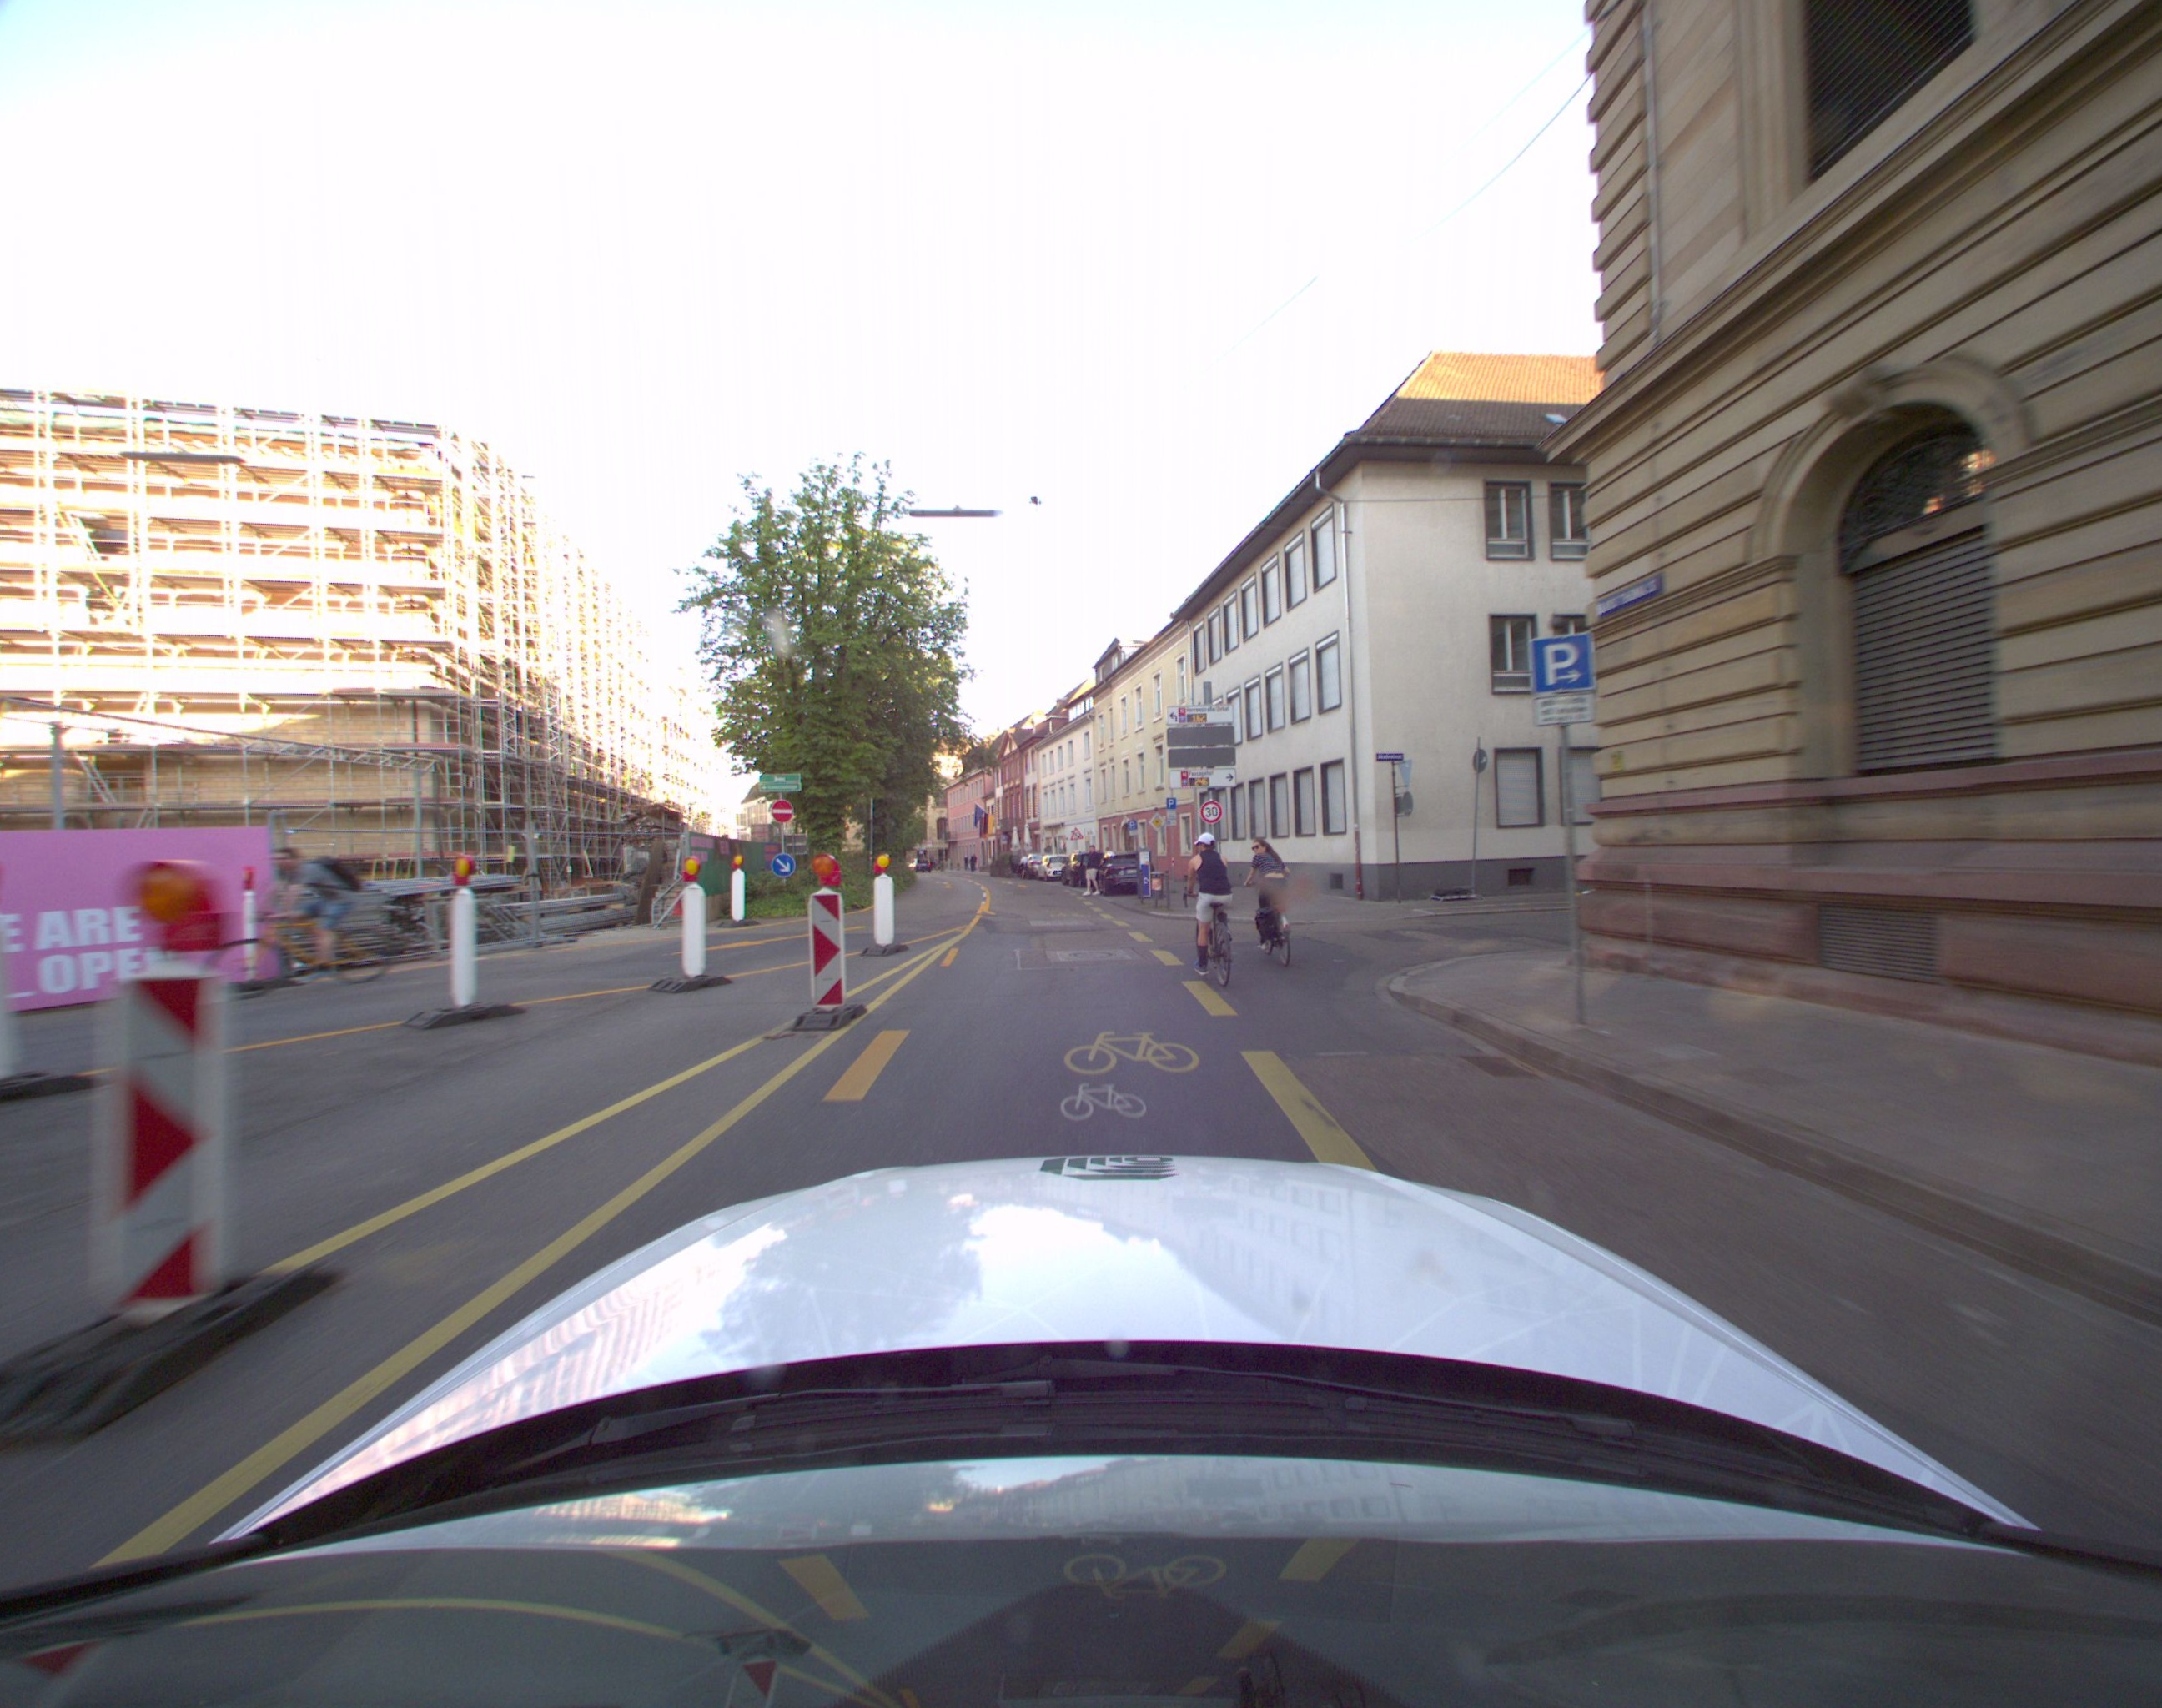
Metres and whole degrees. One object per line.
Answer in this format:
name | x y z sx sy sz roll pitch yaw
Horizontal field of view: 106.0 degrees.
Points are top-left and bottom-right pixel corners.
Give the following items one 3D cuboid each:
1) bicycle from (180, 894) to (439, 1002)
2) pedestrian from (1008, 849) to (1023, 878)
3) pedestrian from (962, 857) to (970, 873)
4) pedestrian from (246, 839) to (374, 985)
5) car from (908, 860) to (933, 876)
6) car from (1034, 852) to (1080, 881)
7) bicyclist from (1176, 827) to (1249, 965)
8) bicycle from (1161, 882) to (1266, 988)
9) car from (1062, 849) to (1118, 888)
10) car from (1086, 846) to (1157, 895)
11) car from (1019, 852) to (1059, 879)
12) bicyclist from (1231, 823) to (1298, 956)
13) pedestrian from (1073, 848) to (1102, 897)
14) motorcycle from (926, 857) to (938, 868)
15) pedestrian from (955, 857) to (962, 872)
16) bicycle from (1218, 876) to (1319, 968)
bicycle | -9.302 1.073 9.950 0.753 1.037 2.133 -2 0 27
pedestrian | -4.178 0.601 51.793 0.827 1.844 0.958 -1 0 2
pedestrian | -12.347 1.172 87.717 0.751 1.762 0.582 -2 0 -16
pedestrian | -9.348 0.664 9.893 0.728 1.674 0.901 -2 0 27
car | -17.041 1.439 86.284 1.821 1.560 3.834 -2 0 -24
car | -1.435 0.712 46.974 1.815 1.560 3.846 -2 0 -14
bicyclist | 1.538 0.472 9.615 0.668 1.566 0.696 0 0 -9
bicycle | 1.523 0.899 9.696 0.669 1.071 1.895 -1 0 -9
car | 0.369 0.668 38.885 1.814 1.684 3.983 -2 0 -13
car | 1.460 0.601 30.951 1.813 1.682 3.905 -2 0 -10
car | -2.668 0.720 51.187 1.815 1.560 3.846 -2 0 -14
bicyclist | 2.508 0.461 11.201 0.649 1.760 0.862 0 0 -7
pedestrian | 0.253 0.704 31.432 0.900 1.866 0.929 -2 0 -10
motorcycle | -17.289 0.979 94.464 1.044 1.248 2.383 -2 0 -18
pedestrian | -13.315 1.104 88.680 0.669 1.581 0.582 -2 0 -16
bicycle | 2.517 0.870 11.207 0.652 1.071 2.253 0 0 -6
